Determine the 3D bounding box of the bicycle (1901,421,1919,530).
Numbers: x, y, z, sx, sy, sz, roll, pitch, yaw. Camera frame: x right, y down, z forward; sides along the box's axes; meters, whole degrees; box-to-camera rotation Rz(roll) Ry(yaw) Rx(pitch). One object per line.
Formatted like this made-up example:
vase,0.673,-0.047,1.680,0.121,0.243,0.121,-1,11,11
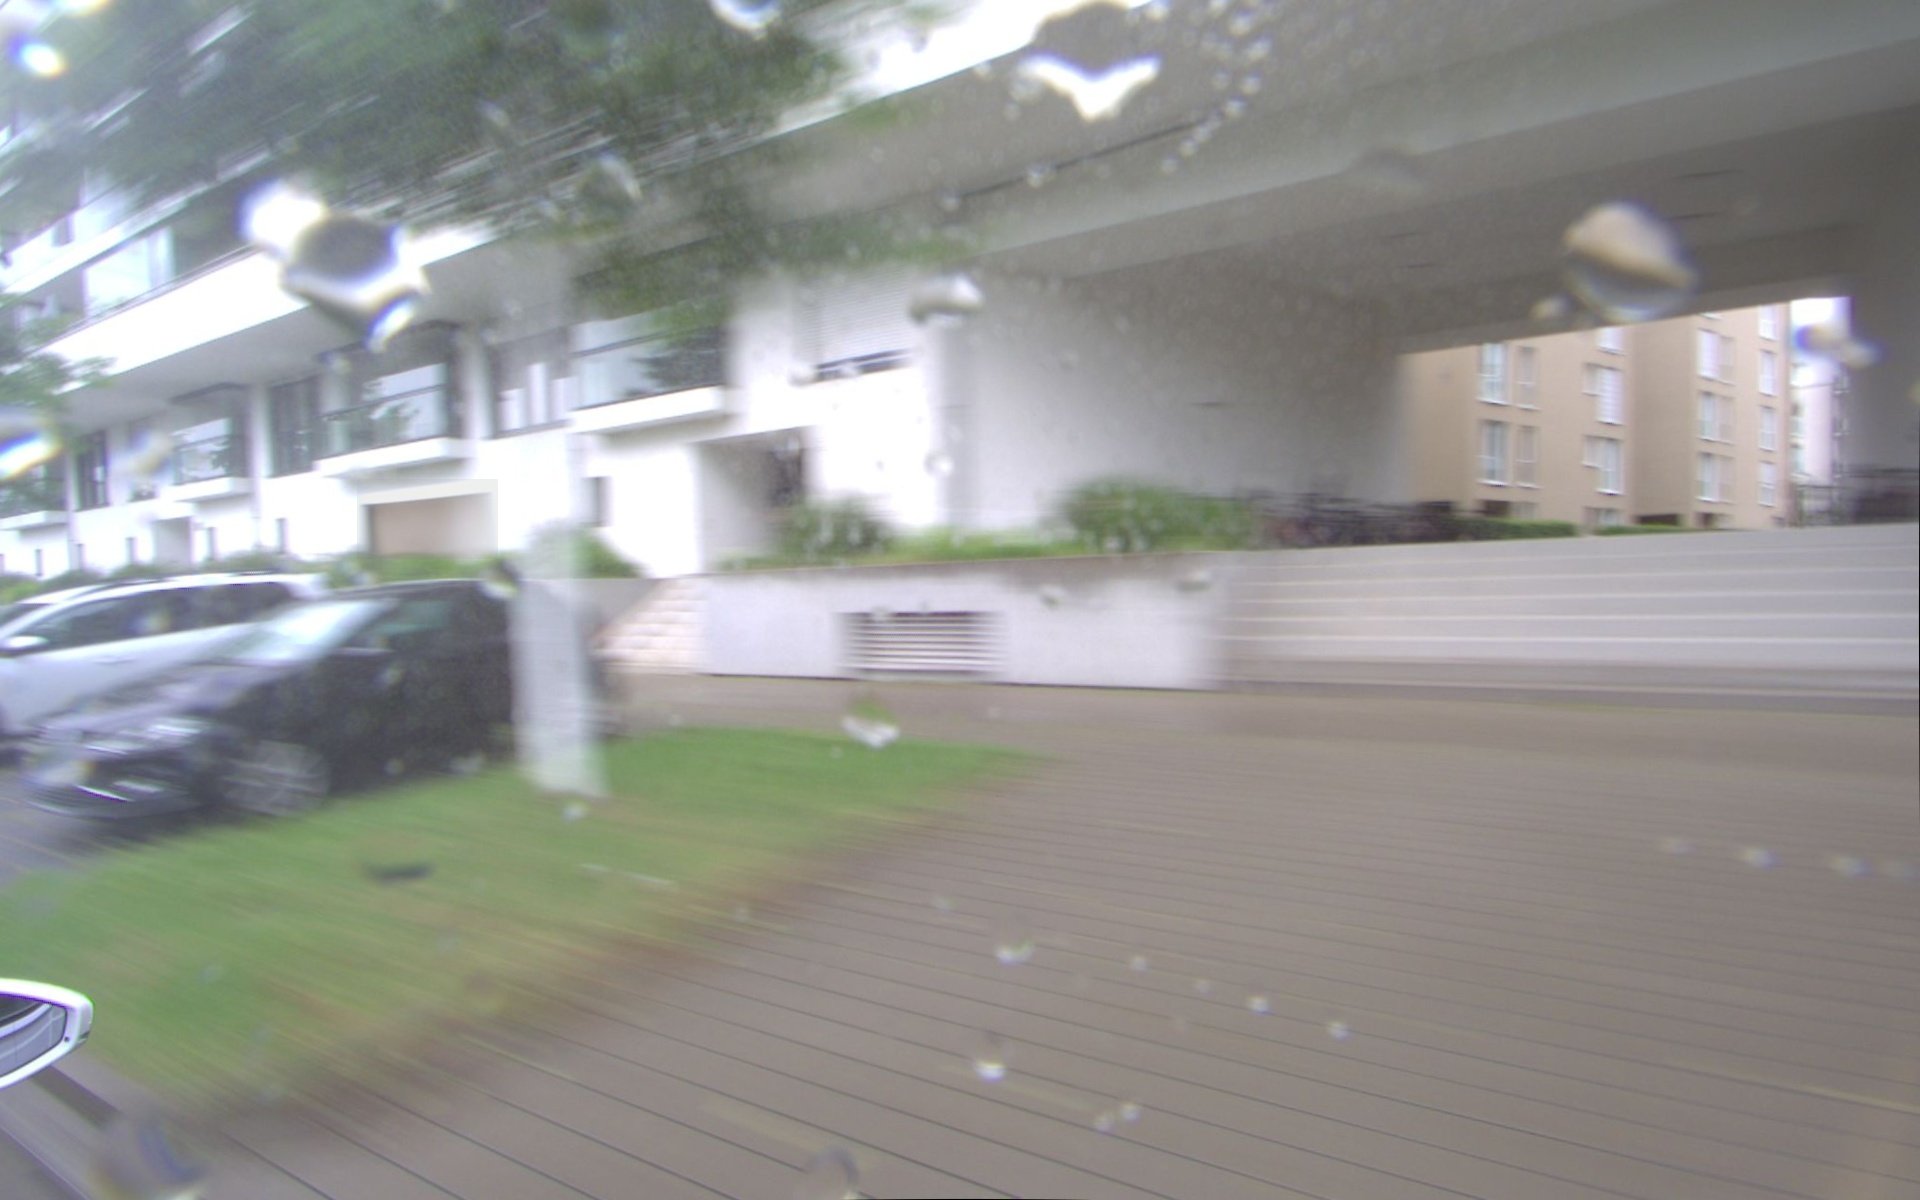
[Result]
bicycle,9.887,-1.277,9.727,0.713,1.069,1.891,-1,1,31

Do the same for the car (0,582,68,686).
car,-17.056,0.672,15.682,1.869,1.647,4.152,-1,3,30

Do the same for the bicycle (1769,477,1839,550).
bicycle,14.014,-1.407,16.667,0.608,1.062,1.891,-1,1,31

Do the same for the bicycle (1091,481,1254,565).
bicycle,3.340,-1.133,15.497,2.934,1.133,0.907,-1,1,-42

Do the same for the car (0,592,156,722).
car,-12.941,0.782,12.624,1.660,1.531,3.975,0,4,32

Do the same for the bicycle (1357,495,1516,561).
bicycle,8.925,-1.340,18.811,2.597,1.133,0.817,-1,1,-3

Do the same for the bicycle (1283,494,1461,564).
bicycle,7.190,-1.232,17.490,2.912,1.133,0.914,-1,1,-15

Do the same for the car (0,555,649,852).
car,-4.635,0.531,7.729,1.908,1.516,3.978,-2,3,29

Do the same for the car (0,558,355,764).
car,-9.147,0.565,10.371,1.907,1.711,4.463,0,5,31

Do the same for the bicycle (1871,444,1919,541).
bicycle,11.684,-1.291,12.258,0.441,1.020,1.891,-1,0,31

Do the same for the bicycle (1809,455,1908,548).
bicycle,12.671,-1.347,14.176,0.713,1.133,1.891,-1,1,31

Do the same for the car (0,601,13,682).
car,-19.069,0.895,16.782,1.613,1.448,4.288,-1,3,30
